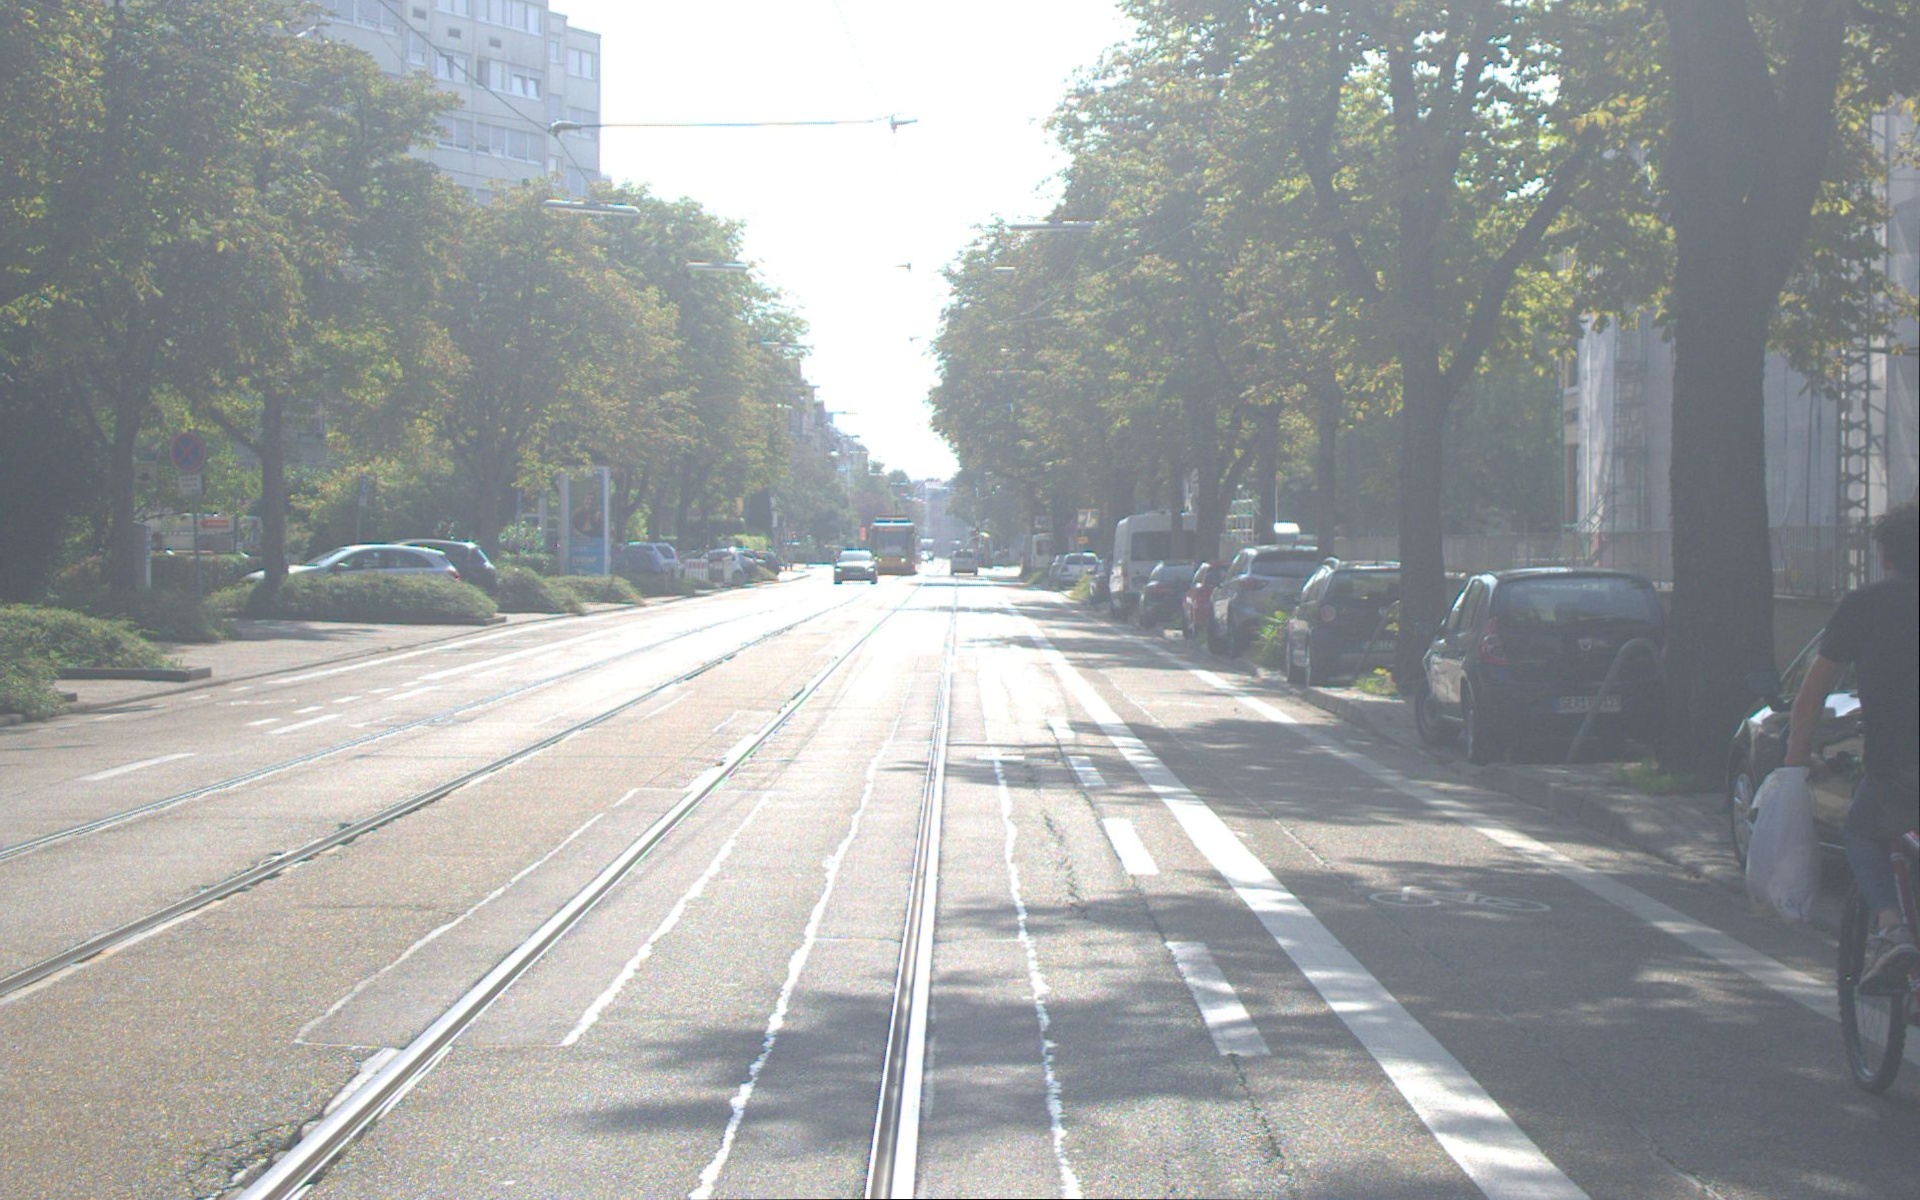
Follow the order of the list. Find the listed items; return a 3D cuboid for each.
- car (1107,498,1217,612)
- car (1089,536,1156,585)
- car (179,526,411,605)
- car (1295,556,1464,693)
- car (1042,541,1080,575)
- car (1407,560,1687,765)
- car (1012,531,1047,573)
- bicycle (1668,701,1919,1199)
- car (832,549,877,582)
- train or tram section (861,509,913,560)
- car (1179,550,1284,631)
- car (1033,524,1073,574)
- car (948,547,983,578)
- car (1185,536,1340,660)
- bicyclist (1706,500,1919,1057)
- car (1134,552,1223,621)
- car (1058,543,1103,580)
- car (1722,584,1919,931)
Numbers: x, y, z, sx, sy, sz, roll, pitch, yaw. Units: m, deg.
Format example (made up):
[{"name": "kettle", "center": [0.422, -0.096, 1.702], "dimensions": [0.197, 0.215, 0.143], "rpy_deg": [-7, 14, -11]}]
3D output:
[{"name": "car", "center": [4.791, -1.078, 82.277], "dimensions": [2.082, 2.544, 5.502], "rpy_deg": [-3, 1, -1]}, {"name": "car", "center": [4.754, -1.186, 101.130], "dimensions": [1.753, 1.373, 4.719], "rpy_deg": [-1, 1, 0]}, {"name": "car", "center": [-12.686, -0.661, 65.618], "dimensions": [3.986, 1.474, 1.789], "rpy_deg": [0, 1, -29]}, {"name": "car", "center": [4.924, 0.257, 40.750], "dimensions": [1.576, 1.479, 3.738], "rpy_deg": [-1, 1, 1]}, {"name": "car", "center": [4.349, -1.821, 148.455], "dimensions": [1.595, 1.413, 3.634], "rpy_deg": [1, 1, 1]}, {"name": "car", "center": [4.698, 0.454, 27.972], "dimensions": [1.646, 1.506, 3.778], "rpy_deg": [-1, 1, 1]}, {"name": "car", "center": [4.107, -2.836, 203.288], "dimensions": [2.004, 2.466, 4.477], "rpy_deg": [0, 1, 1]}, {"name": "bicycle", "center": [2.586, 0.912, 9.629], "dimensions": [0.787, 1.140, 2.305], "rpy_deg": [1, 1, 2]}, {"name": "car", "center": [-4.506, -1.485, 147.700], "dimensions": [1.828, 1.371, 4.513], "rpy_deg": [1, 1, -1]}, {"name": "train or tram section", "center": [-4.283, -3.849, 204.619], "dimensions": [2.729, 2.884, 15.455], "rpy_deg": [1, 1, 0]}, {"name": "car", "center": [4.844, -0.190, 61.742], "dimensions": [1.616, 1.409, 4.000], "rpy_deg": [0, 1, 1]}, {"name": "car", "center": [4.773, -2.604, 176.649], "dimensions": [2.004, 2.482, 4.477], "rpy_deg": [0, 0, 1]}, {"name": "car", "center": [0.333, -2.251, 205.917], "dimensions": [1.993, 1.831, 4.000], "rpy_deg": [1, 1, 1]}, {"name": "car", "center": [4.445, -0.066, 51.061], "dimensions": [1.753, 1.685, 4.397], "rpy_deg": [1, 1, -2]}, {"name": "bicyclist", "center": [2.597, 0.464, 9.614], "dimensions": [0.787, 1.465, 1.116], "rpy_deg": [1, 1, 2]}, {"name": "car", "center": [4.546, -0.304, 72.000], "dimensions": [1.616, 1.369, 4.827], "rpy_deg": [0, 1, 1]}, {"name": "car", "center": [4.704, -1.510, 134.891], "dimensions": [1.689, 1.413, 3.634], "rpy_deg": [1, 1, 1]}, {"name": "car", "center": [4.912, 0.668, 16.242], "dimensions": [1.646, 1.423, 4.085], "rpy_deg": [-1, 1, -1]}]
